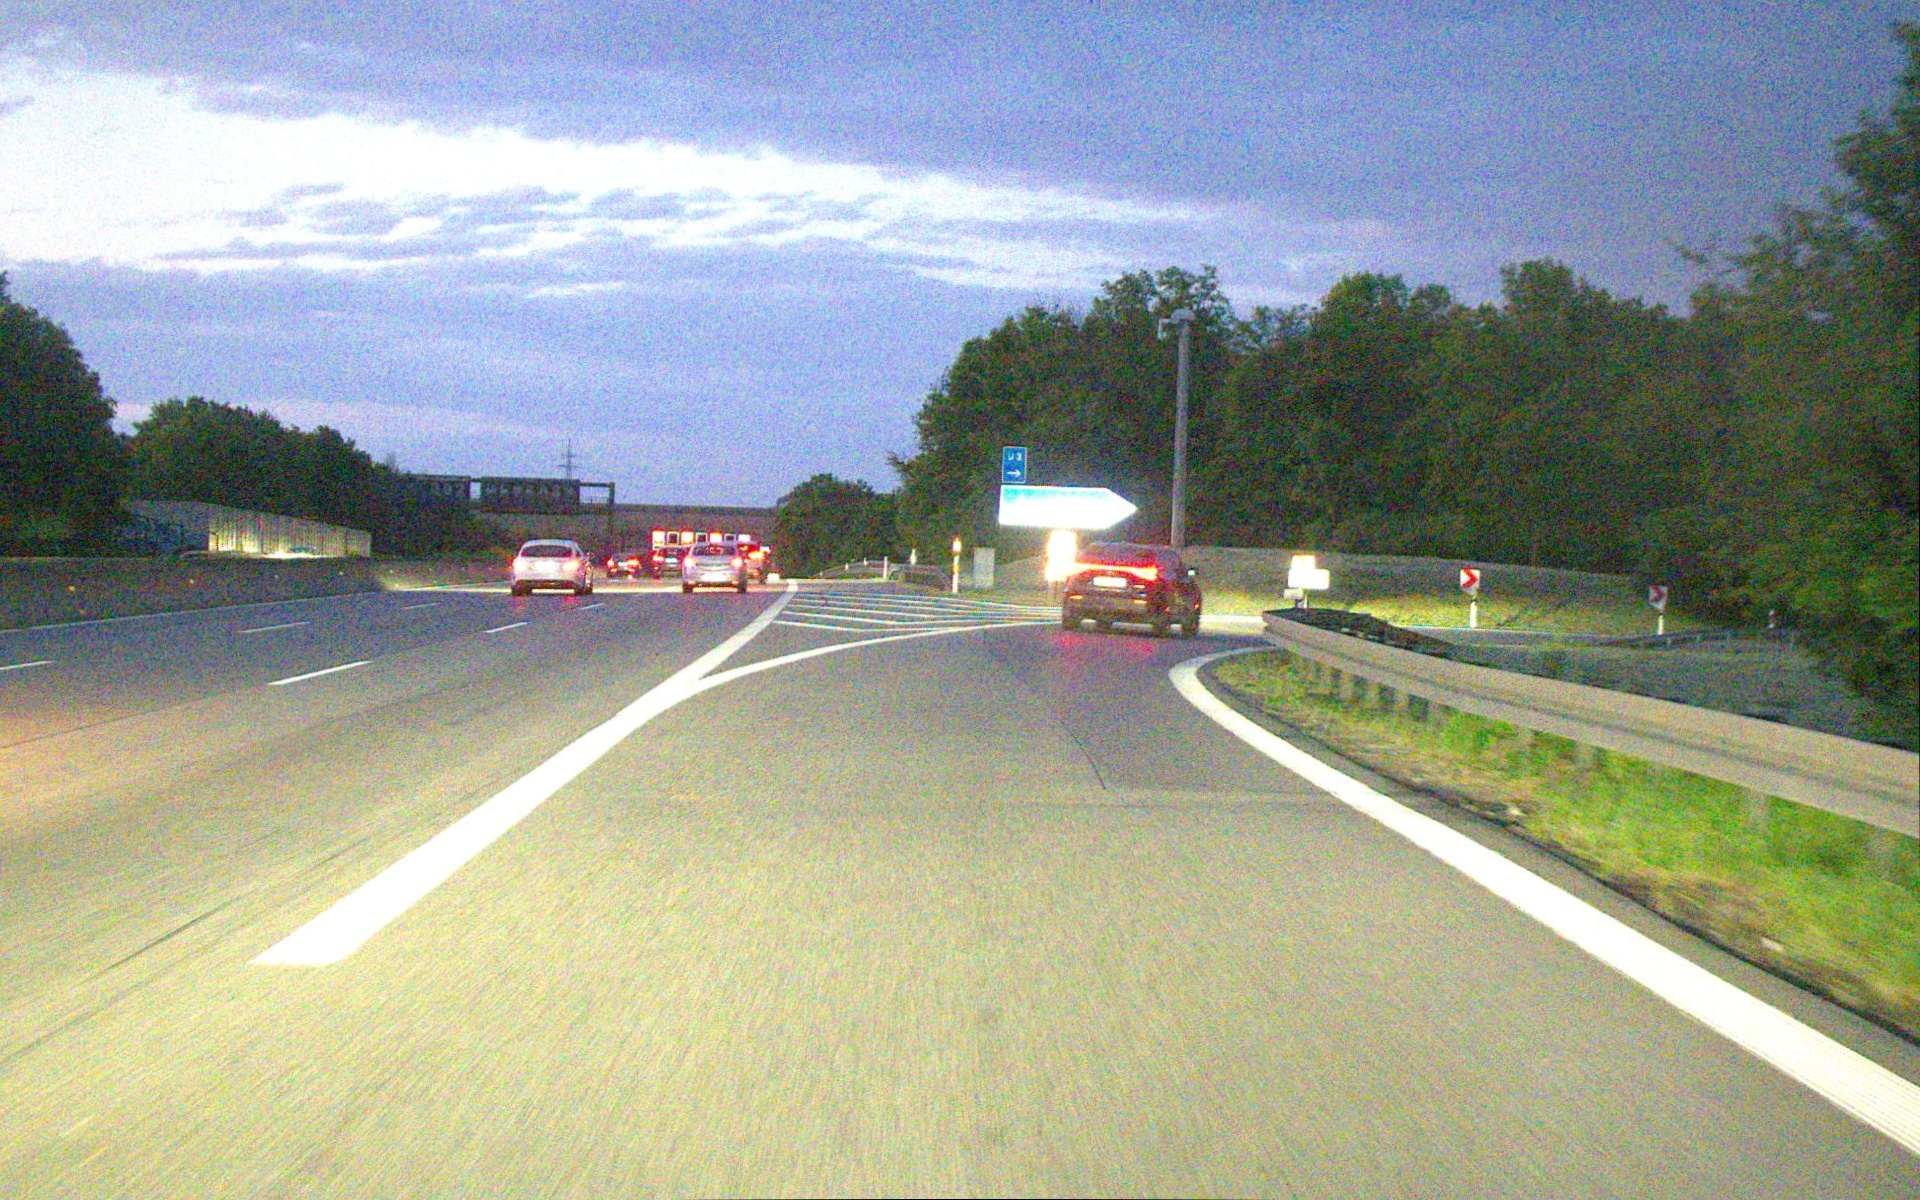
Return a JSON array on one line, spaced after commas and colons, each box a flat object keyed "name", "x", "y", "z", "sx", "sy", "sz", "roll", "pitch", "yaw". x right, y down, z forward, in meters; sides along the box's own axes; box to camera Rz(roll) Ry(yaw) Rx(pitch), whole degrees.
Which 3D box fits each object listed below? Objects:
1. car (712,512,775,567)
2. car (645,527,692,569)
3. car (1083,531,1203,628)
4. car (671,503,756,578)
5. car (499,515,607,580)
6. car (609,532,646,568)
[{"name": "car", "x": -7.928, "y": -2.233, "z": 126.098, "sx": 1.993, "sy": 2.007, "sz": 4.000, "roll": 0, "pitch": 1, "yaw": 1}, {"name": "car", "x": -14.301, "y": -2.576, "z": 168.785, "sx": 2.071, "sy": 2.007, "sz": 4.001, "roll": 0, "pitch": 1, "yaw": -1}, {"name": "car", "x": 3.276, "y": -0.377, "z": 60.981, "sx": 1.994, "sy": 1.653, "sz": 4.314, "roll": 0, "pitch": 1, "yaw": 5}, {"name": "car", "x": -6.687, "y": -1.629, "z": 93.735, "sx": 1.993, "sy": 2.007, "sz": 4.000, "roll": 1, "pitch": 1, "yaw": 0}, {"name": "car", "x": -10.489, "y": -1.383, "z": 88.913, "sx": 1.994, "sy": 1.637, "sz": 4.554, "roll": 0, "pitch": 1, "yaw": 4}, {"name": "car", "x": -19.209, "y": -2.886, "z": 198.826, "sx": 2.104, "sy": 2.007, "sz": 4.001, "roll": -1, "pitch": 1, "yaw": -5}]
